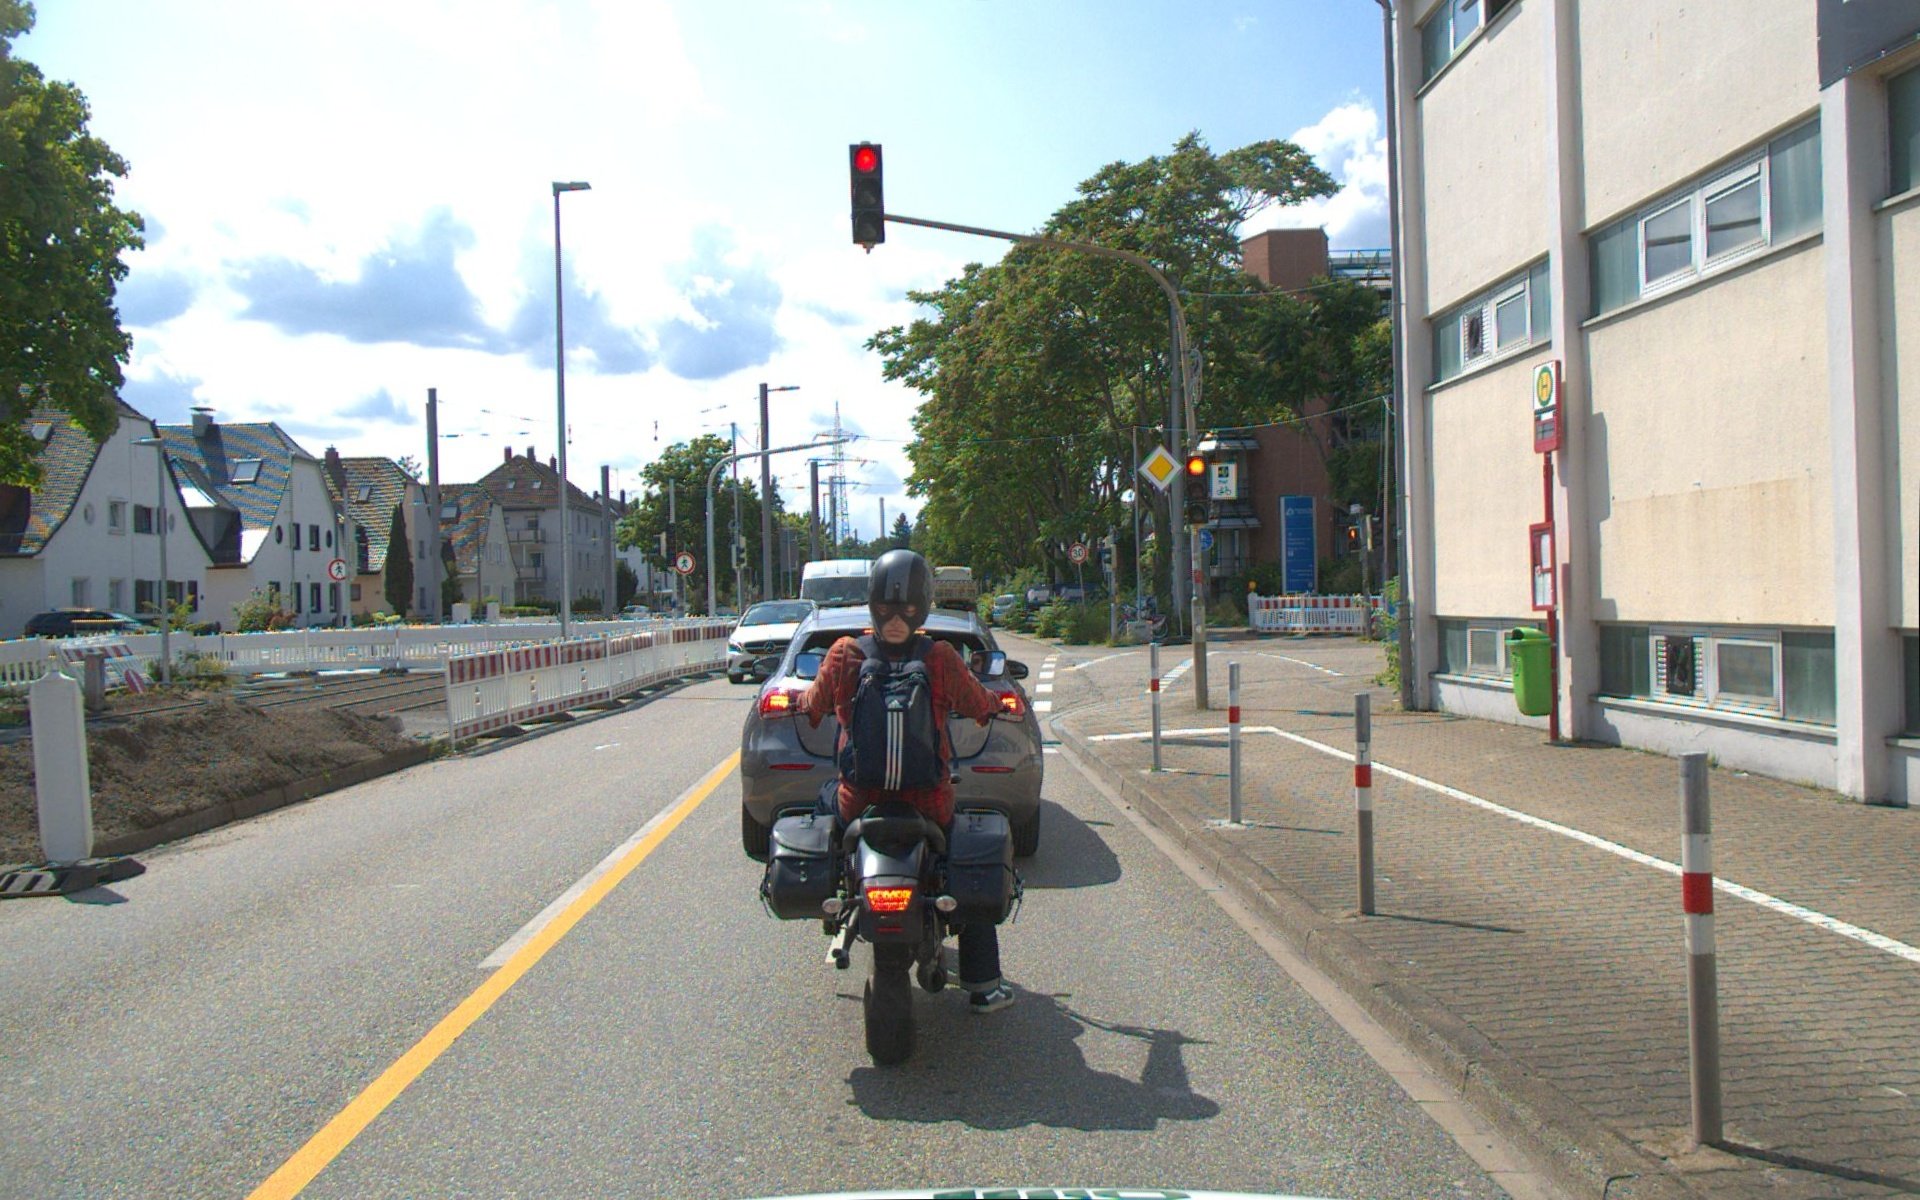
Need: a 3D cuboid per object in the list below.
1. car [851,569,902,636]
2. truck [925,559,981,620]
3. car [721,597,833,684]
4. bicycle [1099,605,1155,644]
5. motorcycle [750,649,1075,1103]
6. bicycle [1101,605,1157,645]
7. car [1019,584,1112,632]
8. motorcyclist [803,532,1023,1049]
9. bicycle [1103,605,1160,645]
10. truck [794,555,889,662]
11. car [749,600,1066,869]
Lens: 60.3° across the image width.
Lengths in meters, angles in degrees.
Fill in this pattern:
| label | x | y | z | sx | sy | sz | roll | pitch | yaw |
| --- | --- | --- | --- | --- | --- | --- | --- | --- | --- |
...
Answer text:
| label | x | y | z | sx | sy | sz | roll | pitch | yaw |
| --- | --- | --- | --- | --- | --- | --- | --- | --- | --- |
| car | -2.765 | 0.107 | 55.469 | 1.557 | 2.180 | 3.626 | 0 | -1 | -1 |
| truck | -0.313 | -0.503 | 91.367 | 2.906 | 3.229 | 7.764 | 0 | -1 | 1 |
| car | -3.372 | 0.727 | 31.063 | 1.709 | 1.462 | 4.082 | -2 | -1 | -2 |
| bicycle | 5.114 | 0.754 | 50.621 | 1.672 | 1.192 | 0.438 | 0 | -1 | 3 |
| motorcycle | -0.167 | 0.831 | 5.986 | 0.923 | 1.221 | 2.471 | 1 | 0 | -2 |
| bicycle | 5.112 | 0.748 | 50.059 | 1.672 | 1.192 | 0.438 | 0 | -1 | 3 |
| car | 4.472 | 0.358 | 69.711 | 1.772 | 1.959 | 3.973 | 0 | -1 | 43 |
| motorcyclist | -0.156 | 0.606 | 5.581 | 0.684 | 1.632 | 0.691 | 0 | -1 | -2 |
| bicycle | 5.128 | 0.743 | 49.526 | 1.672 | 1.192 | 0.438 | 0 | -1 | 3 |
| truck | -3.009 | 0.141 | 42.922 | 2.050 | 2.519 | 5.195 | -3 | 1 | -1 |
| car | -0.484 | 0.731 | 10.952 | 1.698 | 1.428 | 4.081 | 1 | 0 | -6 |
